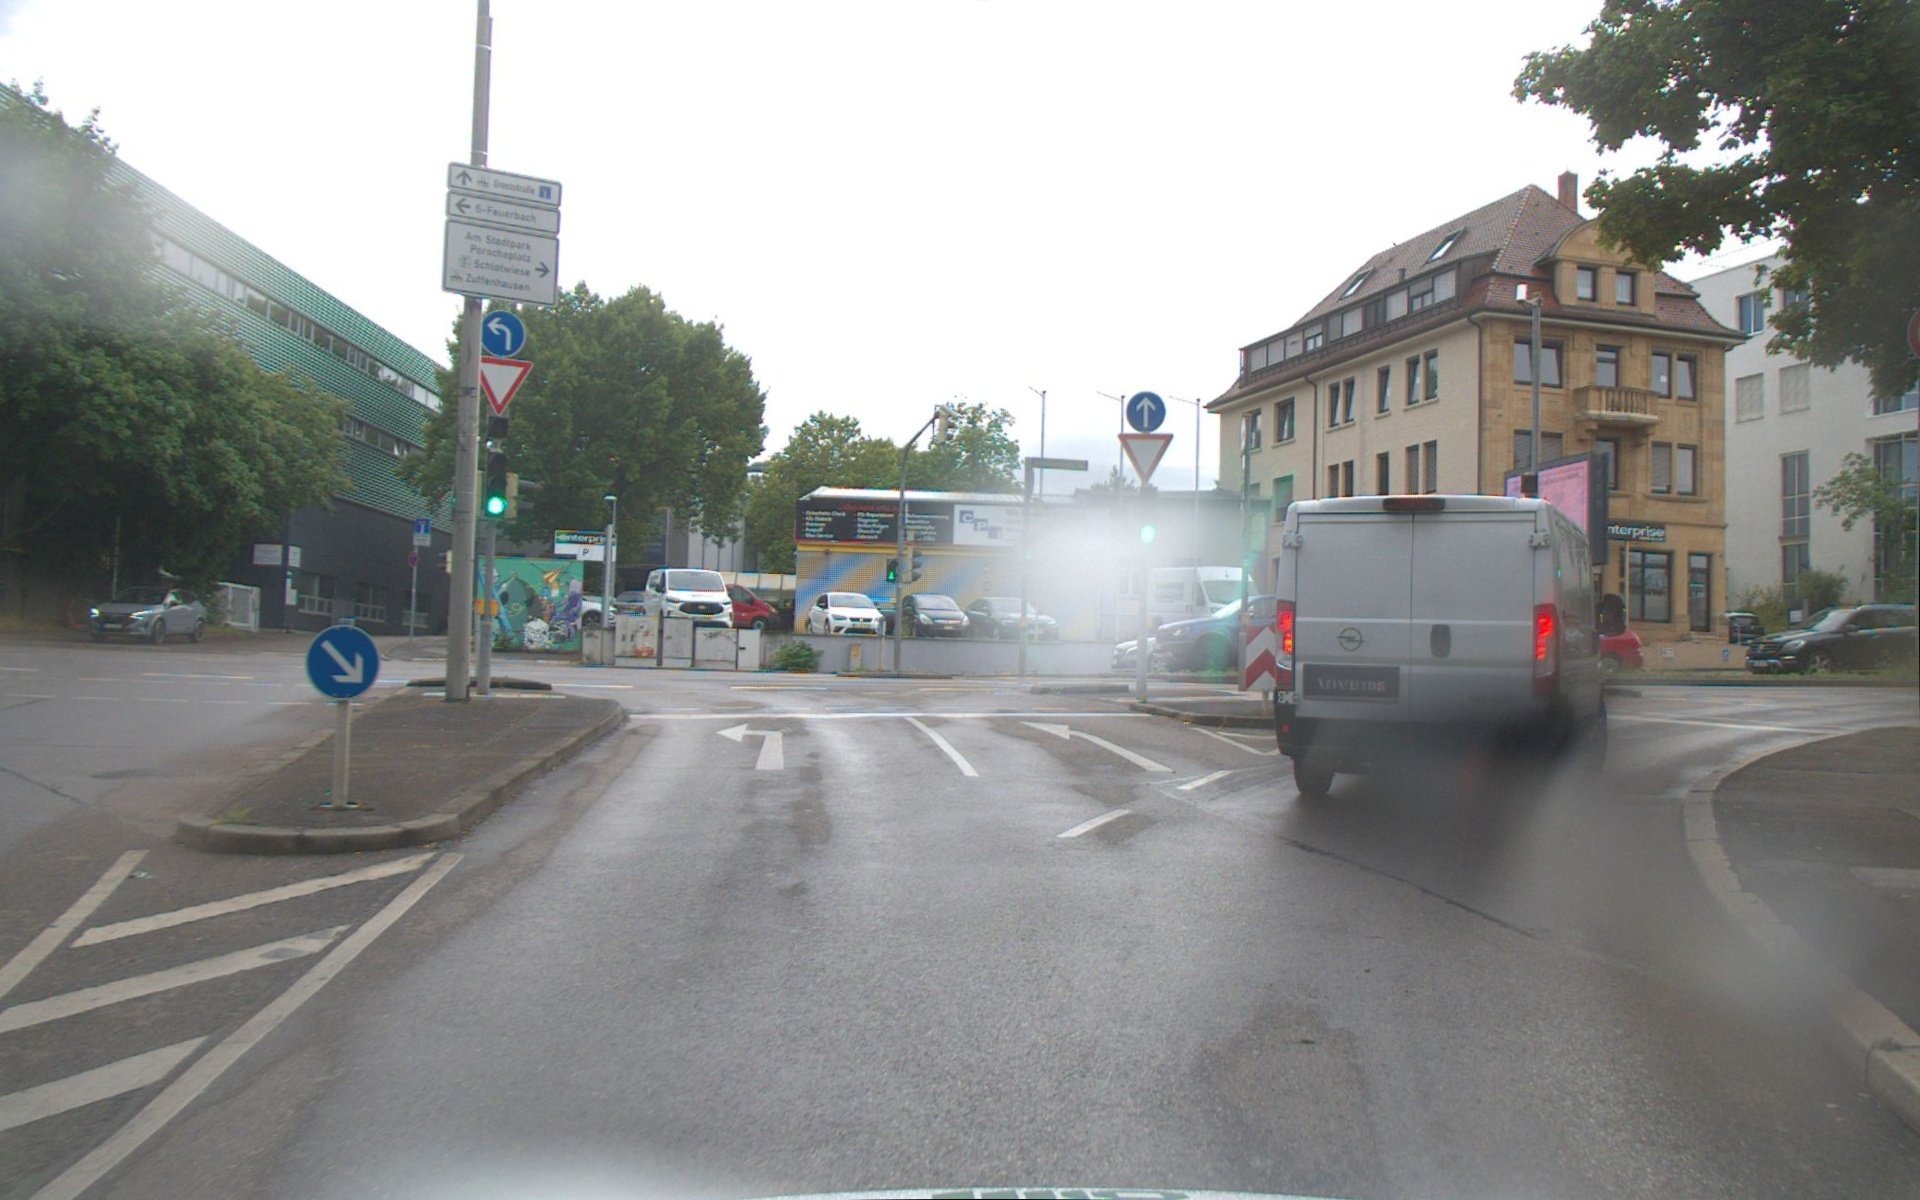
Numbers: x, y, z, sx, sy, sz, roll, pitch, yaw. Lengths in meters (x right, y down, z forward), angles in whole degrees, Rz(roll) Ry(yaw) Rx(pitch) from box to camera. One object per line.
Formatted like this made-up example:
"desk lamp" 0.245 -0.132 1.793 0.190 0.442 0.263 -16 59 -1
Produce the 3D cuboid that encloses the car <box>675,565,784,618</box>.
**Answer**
"car" -9.230 -0.332 66.462 4.213 1.893 1.738 2 -3 -6

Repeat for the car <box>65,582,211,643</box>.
"car" -23.690 0.358 47.876 1.986 1.628 4.382 2 0 0

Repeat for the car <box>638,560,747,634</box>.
"car" -7.848 -0.030 48.081 2.180 1.833 5.341 3 -3 -19

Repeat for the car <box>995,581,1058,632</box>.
"car" 1.956 0.192 49.170 1.202 1.449 2.679 2 0 -12

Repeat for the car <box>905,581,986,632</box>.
"car" -0.470 0.179 48.705 1.706 1.392 3.612 2 0 -12

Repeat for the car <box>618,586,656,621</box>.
"car" -13.466 0.150 68.964 1.184 1.326 2.336 2 -3 -3

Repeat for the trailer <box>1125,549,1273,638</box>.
"trailer" 7.638 -0.110 53.905 2.346 2.471 7.095 2 -3 -13

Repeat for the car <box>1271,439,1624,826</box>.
"car" 4.207 0.166 13.617 2.010 2.560 4.940 2 1 25

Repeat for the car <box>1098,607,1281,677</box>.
"car" 5.416 1.020 39.150 3.987 1.484 1.542 2 -3 -13

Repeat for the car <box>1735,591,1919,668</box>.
"car" 20.835 0.723 38.804 4.529 1.727 1.955 0 -3 -12

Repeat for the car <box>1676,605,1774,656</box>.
"car" 27.799 1.135 60.184 1.683 1.705 3.038 2 -3 -16

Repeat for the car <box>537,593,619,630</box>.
"car" -13.335 0.409 57.725 2.670 1.124 1.192 3 -3 -18

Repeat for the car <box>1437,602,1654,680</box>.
"car" 13.162 0.947 37.232 4.350 1.558 1.806 2 -3 -13

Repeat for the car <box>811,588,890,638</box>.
"car" -3.295 0.359 49.134 1.834 1.392 3.612 2 0 -12

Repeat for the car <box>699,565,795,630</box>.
"car" -8.965 -0.076 69.849 3.897 2.542 1.652 2 -3 -6

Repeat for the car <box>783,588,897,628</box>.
"car" -4.502 0.294 62.357 4.239 1.431 1.372 0 -3 -2

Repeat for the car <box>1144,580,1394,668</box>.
"car" 6.736 0.565 36.228 5.062 1.851 1.934 1 -3 -12
